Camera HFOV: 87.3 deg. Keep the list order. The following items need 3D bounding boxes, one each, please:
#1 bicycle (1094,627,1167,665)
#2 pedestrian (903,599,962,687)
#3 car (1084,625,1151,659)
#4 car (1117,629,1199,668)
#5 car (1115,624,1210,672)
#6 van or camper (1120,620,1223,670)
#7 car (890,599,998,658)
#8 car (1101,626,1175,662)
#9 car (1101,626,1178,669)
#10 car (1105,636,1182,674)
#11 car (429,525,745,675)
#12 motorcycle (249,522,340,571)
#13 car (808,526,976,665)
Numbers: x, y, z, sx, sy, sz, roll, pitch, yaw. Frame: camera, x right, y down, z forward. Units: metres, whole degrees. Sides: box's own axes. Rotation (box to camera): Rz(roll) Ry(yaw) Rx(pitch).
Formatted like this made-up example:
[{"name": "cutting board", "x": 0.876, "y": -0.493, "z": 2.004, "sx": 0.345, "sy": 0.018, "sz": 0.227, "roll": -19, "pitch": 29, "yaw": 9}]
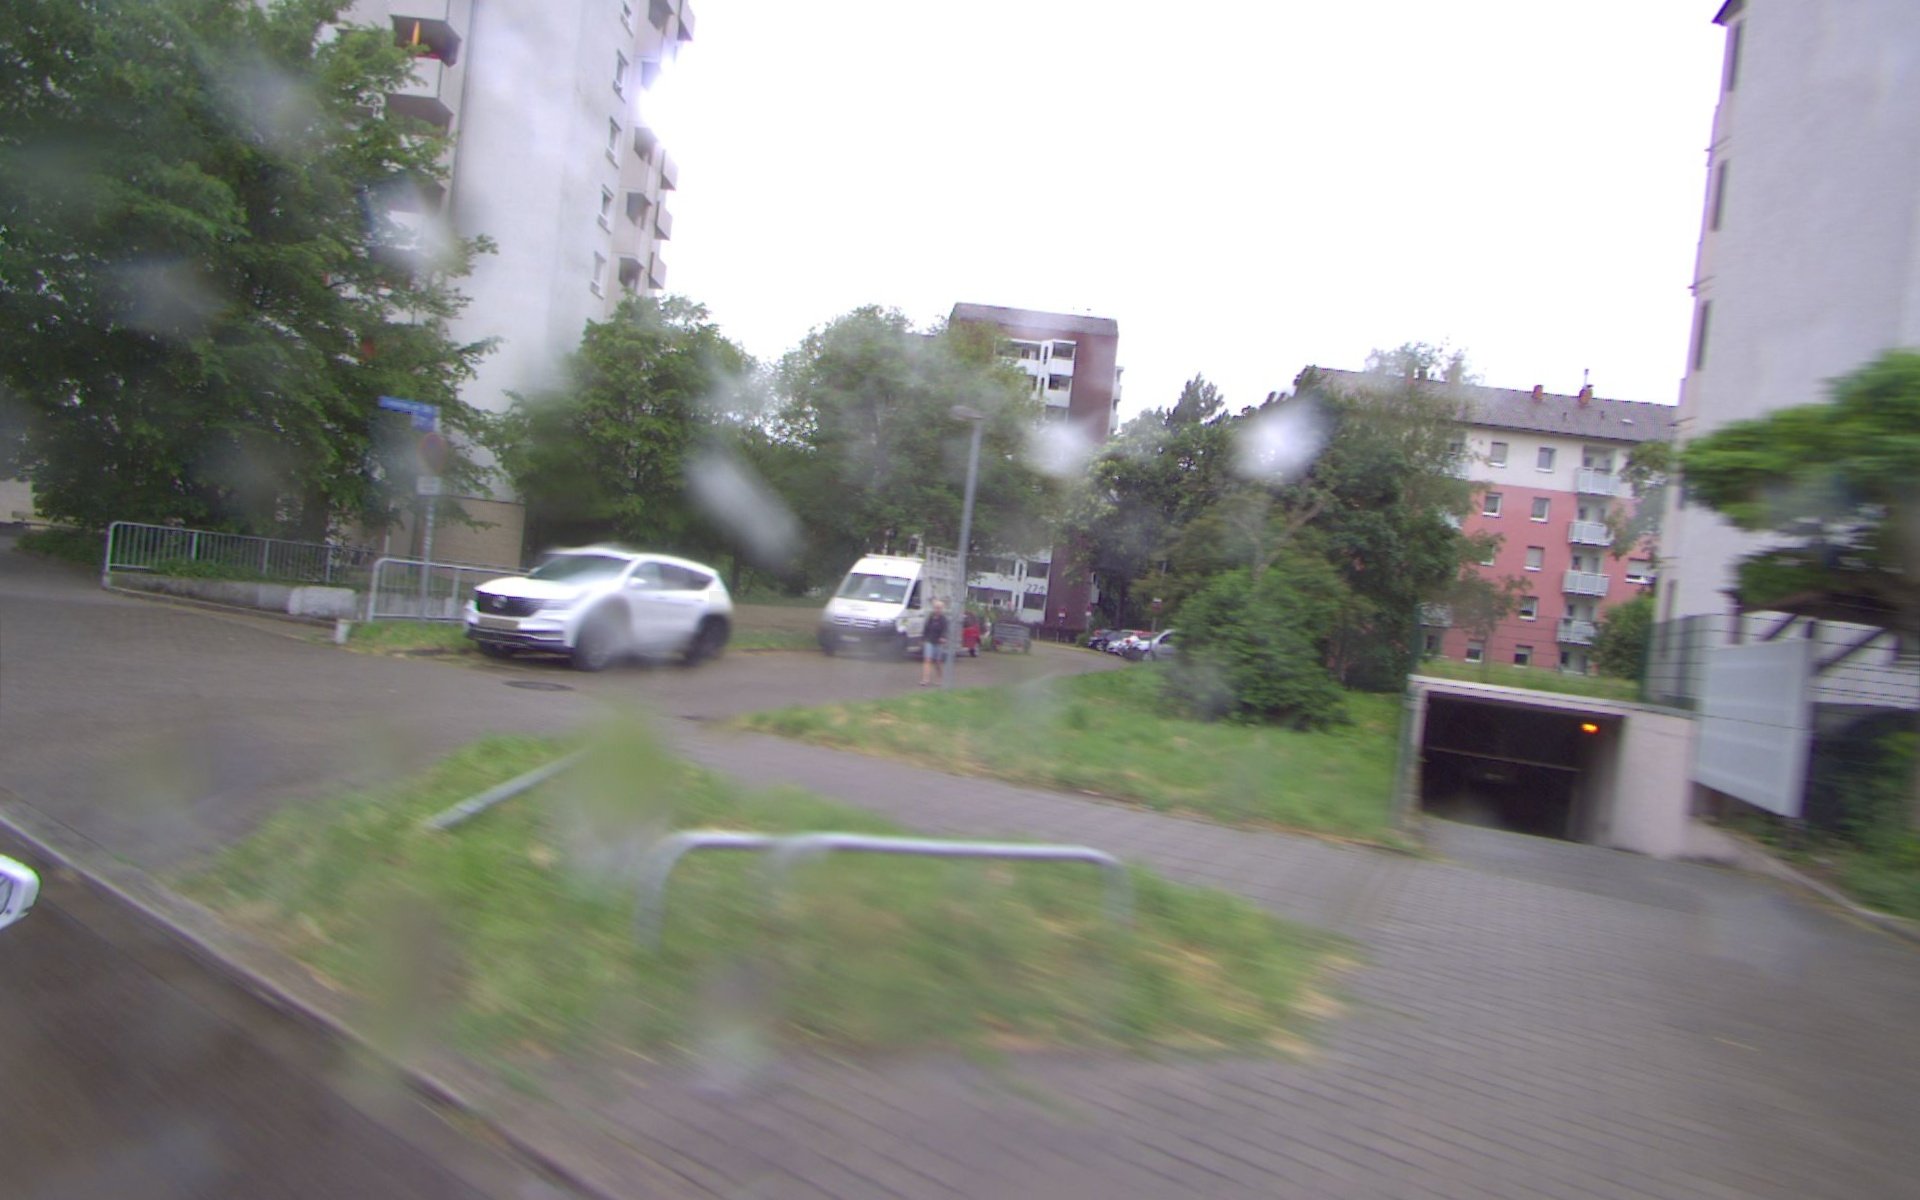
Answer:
[{"name": "bicycle", "x": 9.715, "y": 2.597, "z": 57.288, "sx": 3.923, "sy": 1.651, "sz": 1.180, "roll": 7, "pitch": -1, "yaw": 10}, {"name": "pedestrian", "x": -0.527, "y": 0.828, "z": 19.622, "sx": 0.799, "sy": 1.590, "sz": 0.840, "roll": 7, "pitch": 0, "yaw": 12}, {"name": "car", "x": 10.592, "y": 2.837, "z": 67.833, "sx": 4.171, "sy": 1.698, "sz": 1.885, "roll": 7, "pitch": -1, "yaw": 5}, {"name": "car", "x": 10.177, "y": 2.517, "z": 51.890, "sx": 3.924, "sy": 1.470, "sz": 2.003, "roll": 7, "pitch": -2, "yaw": 11}, {"name": "car", "x": 9.875, "y": 2.334, "z": 49.223, "sx": 4.171, "sy": 1.799, "sz": 1.885, "roll": 7, "pitch": -1, "yaw": 5}, {"name": "van or camper", "x": 9.813, "y": 2.082, "z": 46.956, "sx": 4.334, "sy": 1.793, "sz": 1.908, "roll": 7, "pitch": 0, "yaw": 4}, {"name": "car", "x": -0.406, "y": 0.944, "z": 31.813, "sx": 1.872, "sy": 1.544, "sz": 4.419, "roll": 7, "pitch": -1, "yaw": 19}, {"name": "car", "x": 11.037, "y": 2.733, "z": 62.576, "sx": 4.171, "sy": 1.698, "sz": 1.885, "roll": 7, "pitch": -1, "yaw": 5}, {"name": "car", "x": 9.787, "y": 2.609, "z": 54.889, "sx": 3.924, "sy": 1.741, "sz": 1.725, "roll": 7, "pitch": -2, "yaw": 11}, {"name": "car", "x": 10.886, "y": 3.237, "z": 59.924, "sx": 4.171, "sy": 1.698, "sz": 1.885, "roll": 7, "pitch": -1, "yaw": 5}, {"name": "car", "x": -5.456, "y": 0.094, "z": 15.573, "sx": 1.962, "sy": 1.766, "sz": 4.821, "roll": 7, "pitch": -1, "yaw": 16}, {"name": "motorcycle", "x": -21.874, "y": -1.747, "z": 33.110, "sx": 2.262, "sy": 1.305, "sz": 0.884, "roll": 7, "pitch": 1, "yaw": -6}, {"name": "car", "x": -1.557, "y": 0.029, "z": 26.218, "sx": 2.090, "sy": 3.000, "sz": 6.079, "roll": 7, "pitch": -1, "yaw": 16}]
